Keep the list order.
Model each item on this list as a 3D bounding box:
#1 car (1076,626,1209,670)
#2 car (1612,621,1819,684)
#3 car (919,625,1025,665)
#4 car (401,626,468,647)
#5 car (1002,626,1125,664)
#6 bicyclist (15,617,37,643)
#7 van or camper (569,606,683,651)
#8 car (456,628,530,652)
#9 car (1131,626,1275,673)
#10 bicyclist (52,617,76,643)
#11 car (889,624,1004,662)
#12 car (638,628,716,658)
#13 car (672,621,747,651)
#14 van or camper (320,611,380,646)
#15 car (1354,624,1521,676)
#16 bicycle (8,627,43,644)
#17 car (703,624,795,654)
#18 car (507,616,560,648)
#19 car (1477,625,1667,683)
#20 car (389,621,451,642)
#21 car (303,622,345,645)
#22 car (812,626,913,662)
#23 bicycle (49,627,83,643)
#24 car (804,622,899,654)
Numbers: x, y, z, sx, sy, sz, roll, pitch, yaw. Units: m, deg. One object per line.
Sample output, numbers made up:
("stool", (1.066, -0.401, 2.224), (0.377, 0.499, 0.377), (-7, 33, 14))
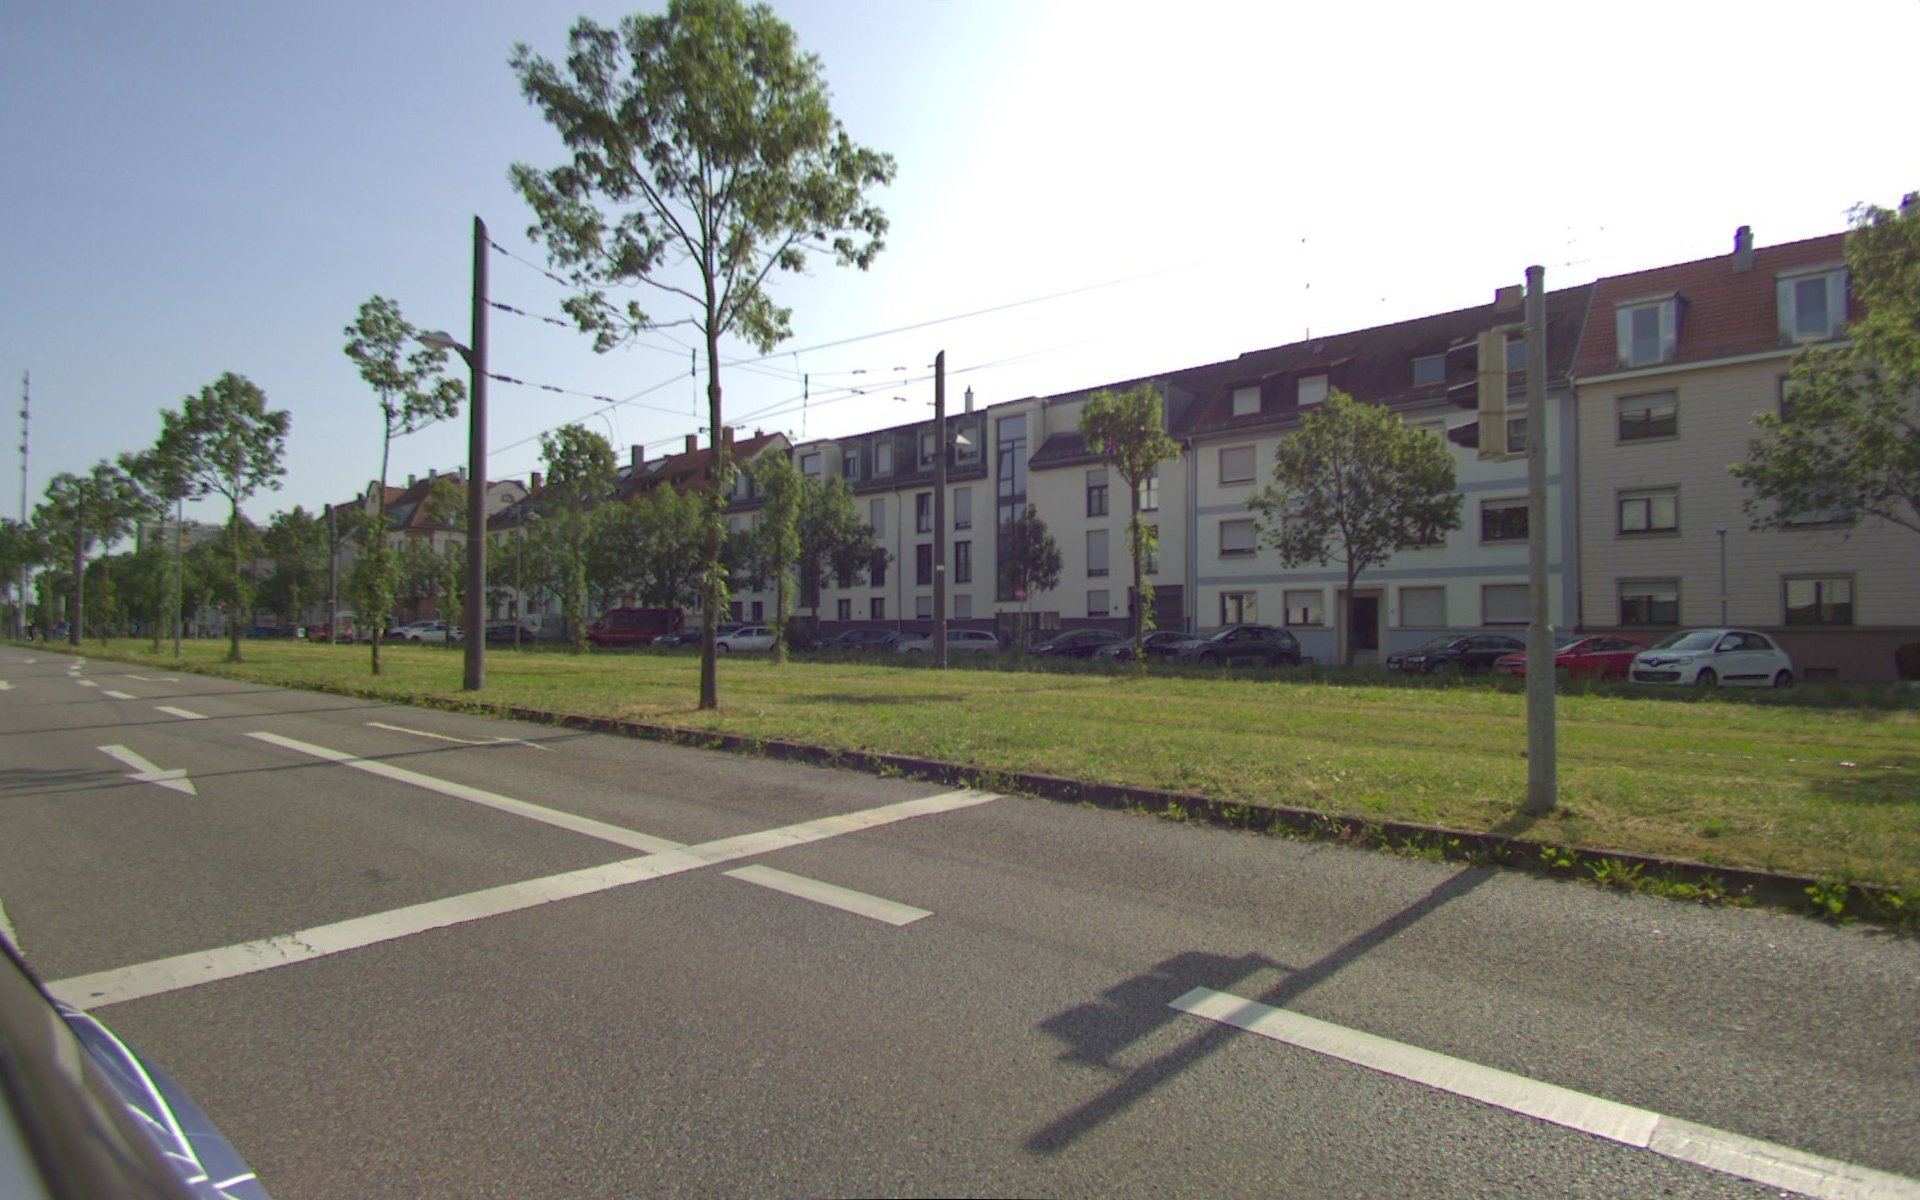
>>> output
("car", (6.197, 1.590, 34.447), (3.931, 1.298, 2.006), (-1, 0, -22))
("car", (17.651, 1.183, 23.688), (3.931, 1.279, 1.892), (-1, 0, -17))
("car", (0.465, 1.699, 39.023), (3.715, 1.386, 1.670), (-1, 0, -21))
("car", (-40.839, 2.842, 78.742), (4.296, 1.486, 1.861), (-1, 0, -10))
("car", (3.720, 1.603, 36.527), (3.930, 1.298, 2.006), (1, -2, -22))
("bicyclist", (-66.229, 2.109, 71.780), (0.904, 1.836, 0.862), (-1, -2, 29))
("van or camper", (-19.430, 1.649, 59.191), (6.062, 2.566, 2.419), (0, -1, -10))
("car", (-32.196, 2.754, 69.852), (4.281, 1.541, 2.003), (-1, 0, -8))
("car", (7.684, 1.533, 32.084), (3.989, 1.298, 2.006), (-1, 0, -20))
("bicyclist", (-66.295, 2.196, 74.886), (1.167, 1.864, 0.913), (-1, -1, -30))
("car", (-0.555, 1.733, 41.434), (4.265, 1.386, 2.006), (-1, 0, -21))
("car", (-15.129, 2.283, 54.314), (3.934, 1.431, 1.786), (-1, 0, -12))
("car", (-12.918, 1.843, 52.167), (3.659, 1.445, 1.646), (-1, -1, -14))
("van or camper", (-45.783, 2.138, 75.881), (6.058, 2.493, 2.118), (-1, -4, 43))
("car", (13.130, 1.353, 27.883), (3.933, 1.244, 1.704), (-1, 0, -14))
("bicycle", (-66.183, 2.503, 71.709), (0.573, 1.154, 1.737), (-1, -2, 25))
("car", (-10.436, 1.919, 49.976), (4.325, 1.330, 1.739), (-1, -1, -14))
("car", (-34.796, 2.603, 82.515), (5.579, 2.482, 1.971), (-1, -1, 44))
("car", (15.549, 1.330, 25.776), (3.933, 1.268, 1.881), (-1, 0, -14))
("car", (-42.999, 2.473, 80.663), (4.033, 1.541, 1.817), (-1, 0, -10))
("car", (-50.766, 2.660, 80.765), (4.162, 1.751, 1.795), (-2, -4, 44))
("car", (-4.207, 1.855, 43.416), (3.931, 1.386, 1.933), (-1, 0, -20))
("bicycle", (-66.214, 2.603, 74.960), (1.762, 1.154, 0.578), (-1, -1, -30))
("car", (-4.903, 1.701, 45.584), (3.931, 1.386, 1.842), (1, -2, -20))
